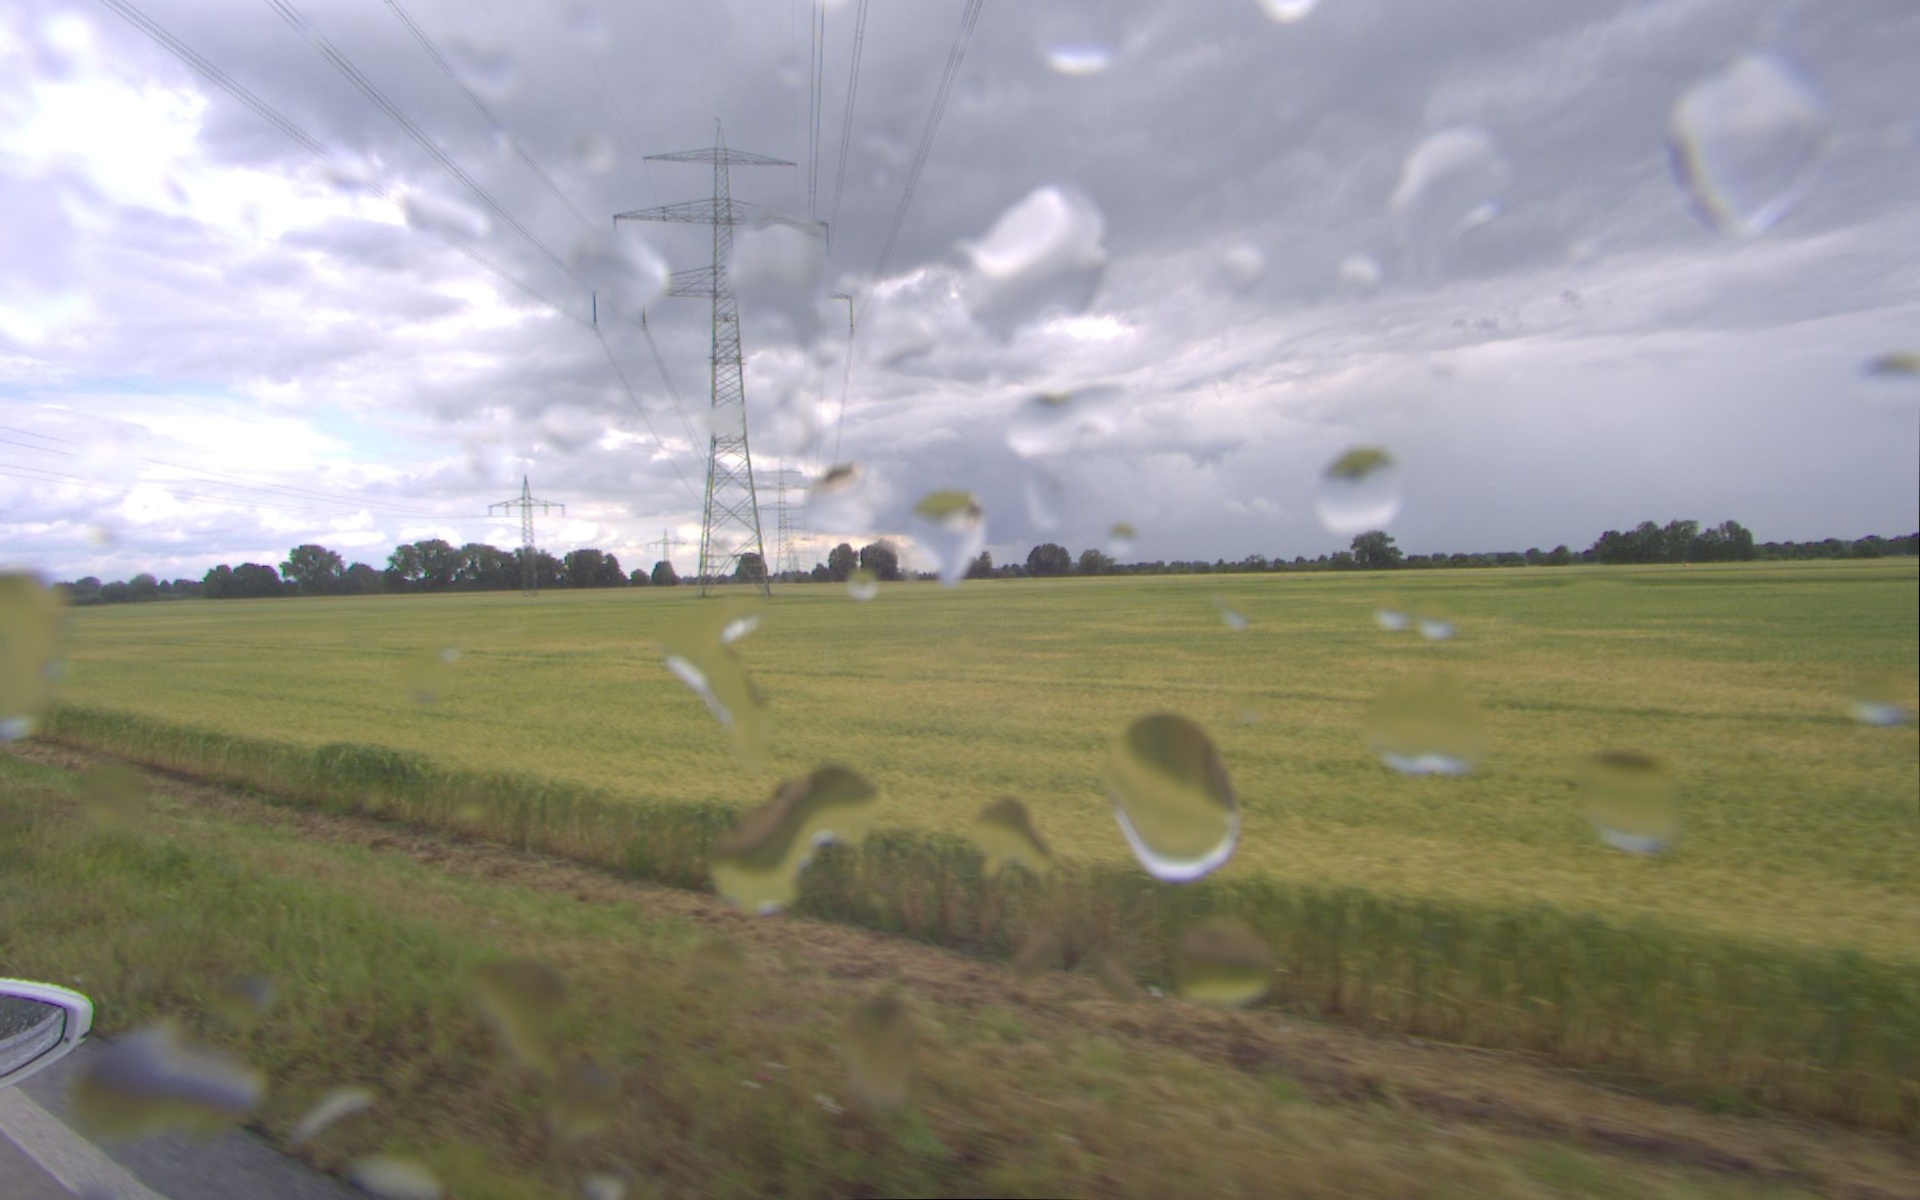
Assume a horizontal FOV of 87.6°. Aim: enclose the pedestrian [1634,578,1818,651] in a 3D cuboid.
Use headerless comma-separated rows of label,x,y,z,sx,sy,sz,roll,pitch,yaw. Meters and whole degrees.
pedestrian,23.063,0.473,30.338,3.931,2.039,1.996,-2,-2,21
